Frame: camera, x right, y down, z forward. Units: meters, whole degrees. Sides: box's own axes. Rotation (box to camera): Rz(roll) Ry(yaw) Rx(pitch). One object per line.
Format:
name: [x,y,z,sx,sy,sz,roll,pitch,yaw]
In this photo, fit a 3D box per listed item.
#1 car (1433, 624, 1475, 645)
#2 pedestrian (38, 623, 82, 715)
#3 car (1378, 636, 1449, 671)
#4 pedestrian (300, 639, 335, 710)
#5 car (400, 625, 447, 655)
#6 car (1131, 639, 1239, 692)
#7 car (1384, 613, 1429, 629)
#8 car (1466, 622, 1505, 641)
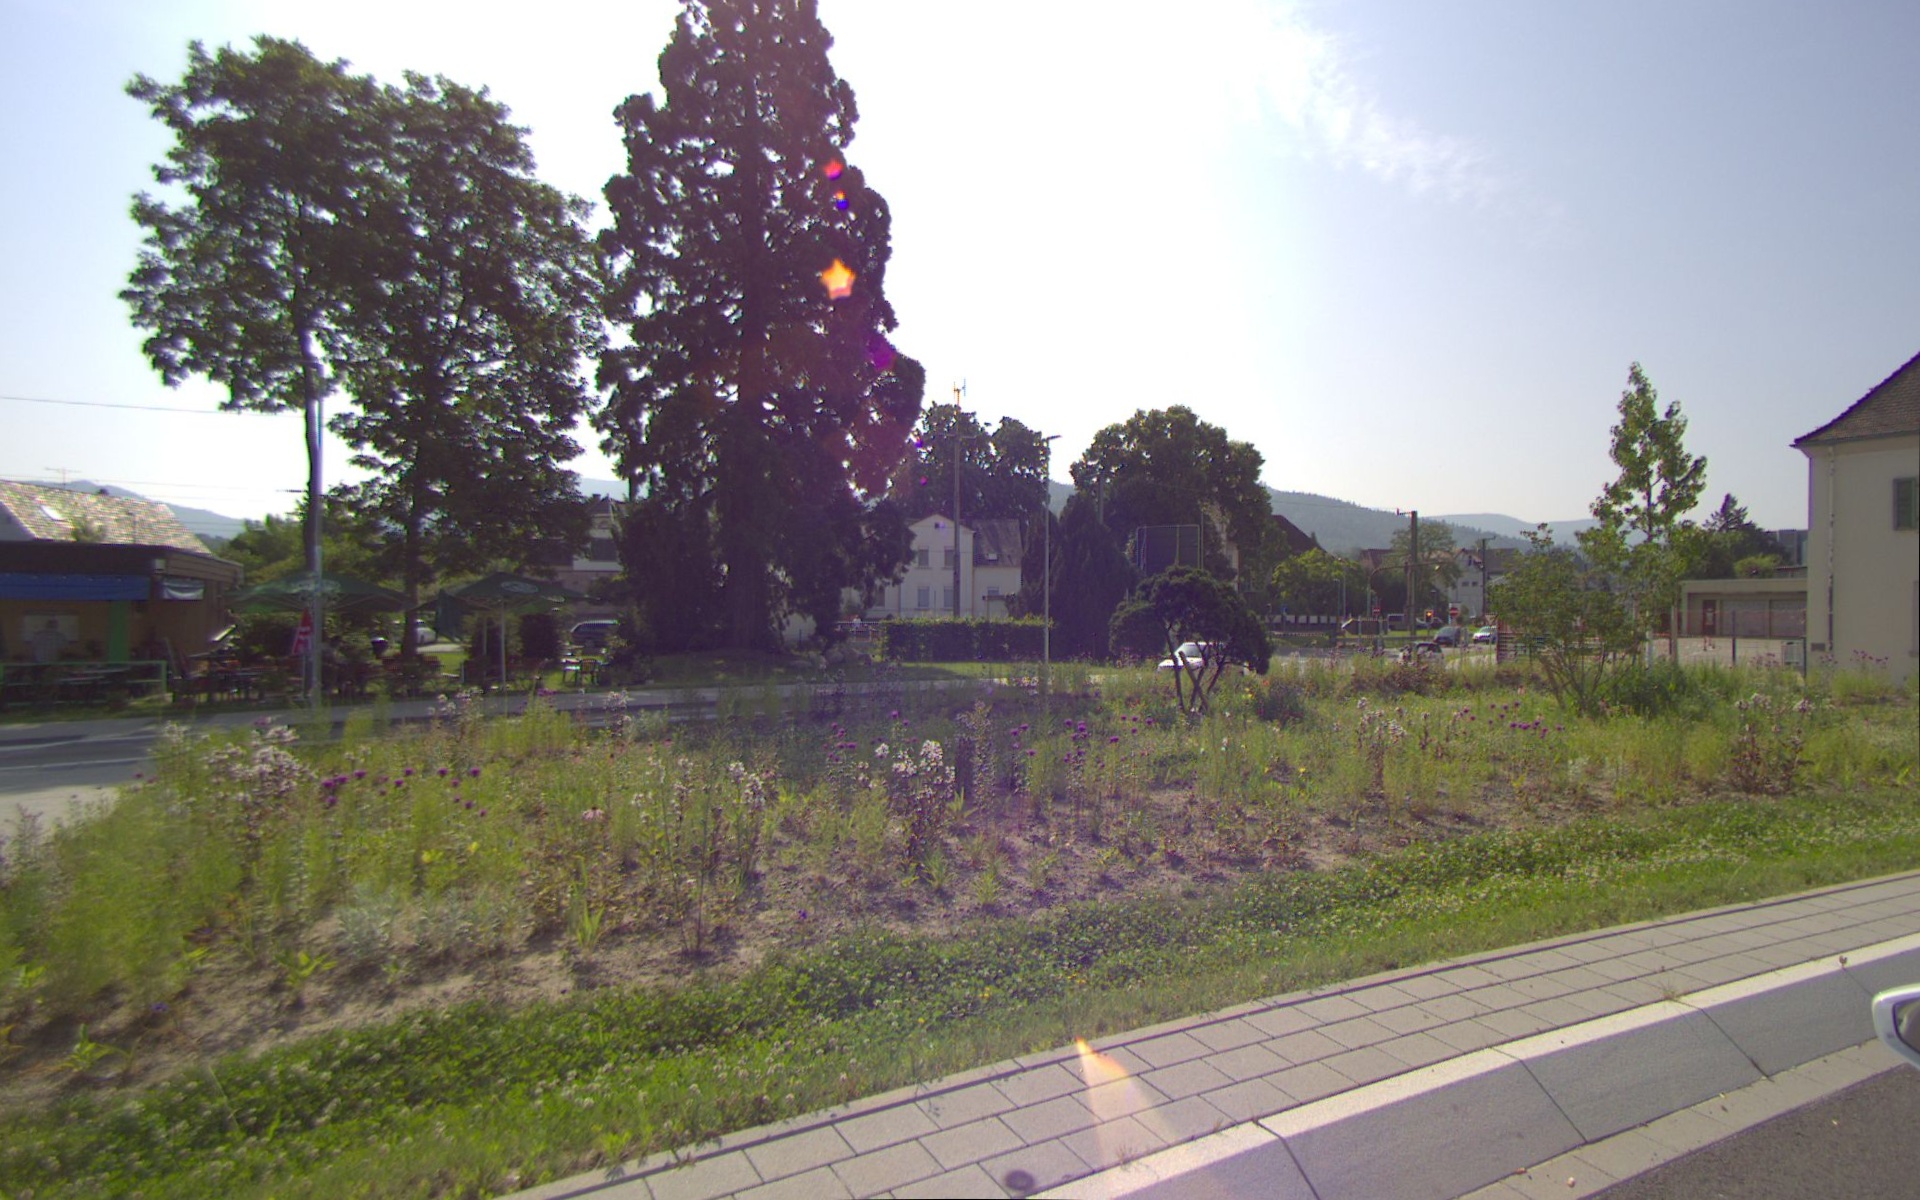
car: [37.985,2.624,77.202,3.973,1.416,1.692,0,2,-44]
pedestrian: [-20.819,1.577,23.242,0.847,2.041,0.704,3,2,45]
car: [22.553,2.612,50.090,1.681,1.416,3.999,1,1,-1]
pedestrian: [-15.292,1.753,23.907,0.641,1.611,0.564,3,2,45]
car: [-30.965,2.291,58.066,1.580,1.515,3.639,2,1,-15]
car: [7.252,2.046,32.168,1.651,1.551,3.979,-2,-2,41]
car: [46.132,2.153,103.738,3.941,1.416,1.705,2,2,41]
car: [43.458,2.593,82.985,3.973,1.416,1.692,0,2,-44]
